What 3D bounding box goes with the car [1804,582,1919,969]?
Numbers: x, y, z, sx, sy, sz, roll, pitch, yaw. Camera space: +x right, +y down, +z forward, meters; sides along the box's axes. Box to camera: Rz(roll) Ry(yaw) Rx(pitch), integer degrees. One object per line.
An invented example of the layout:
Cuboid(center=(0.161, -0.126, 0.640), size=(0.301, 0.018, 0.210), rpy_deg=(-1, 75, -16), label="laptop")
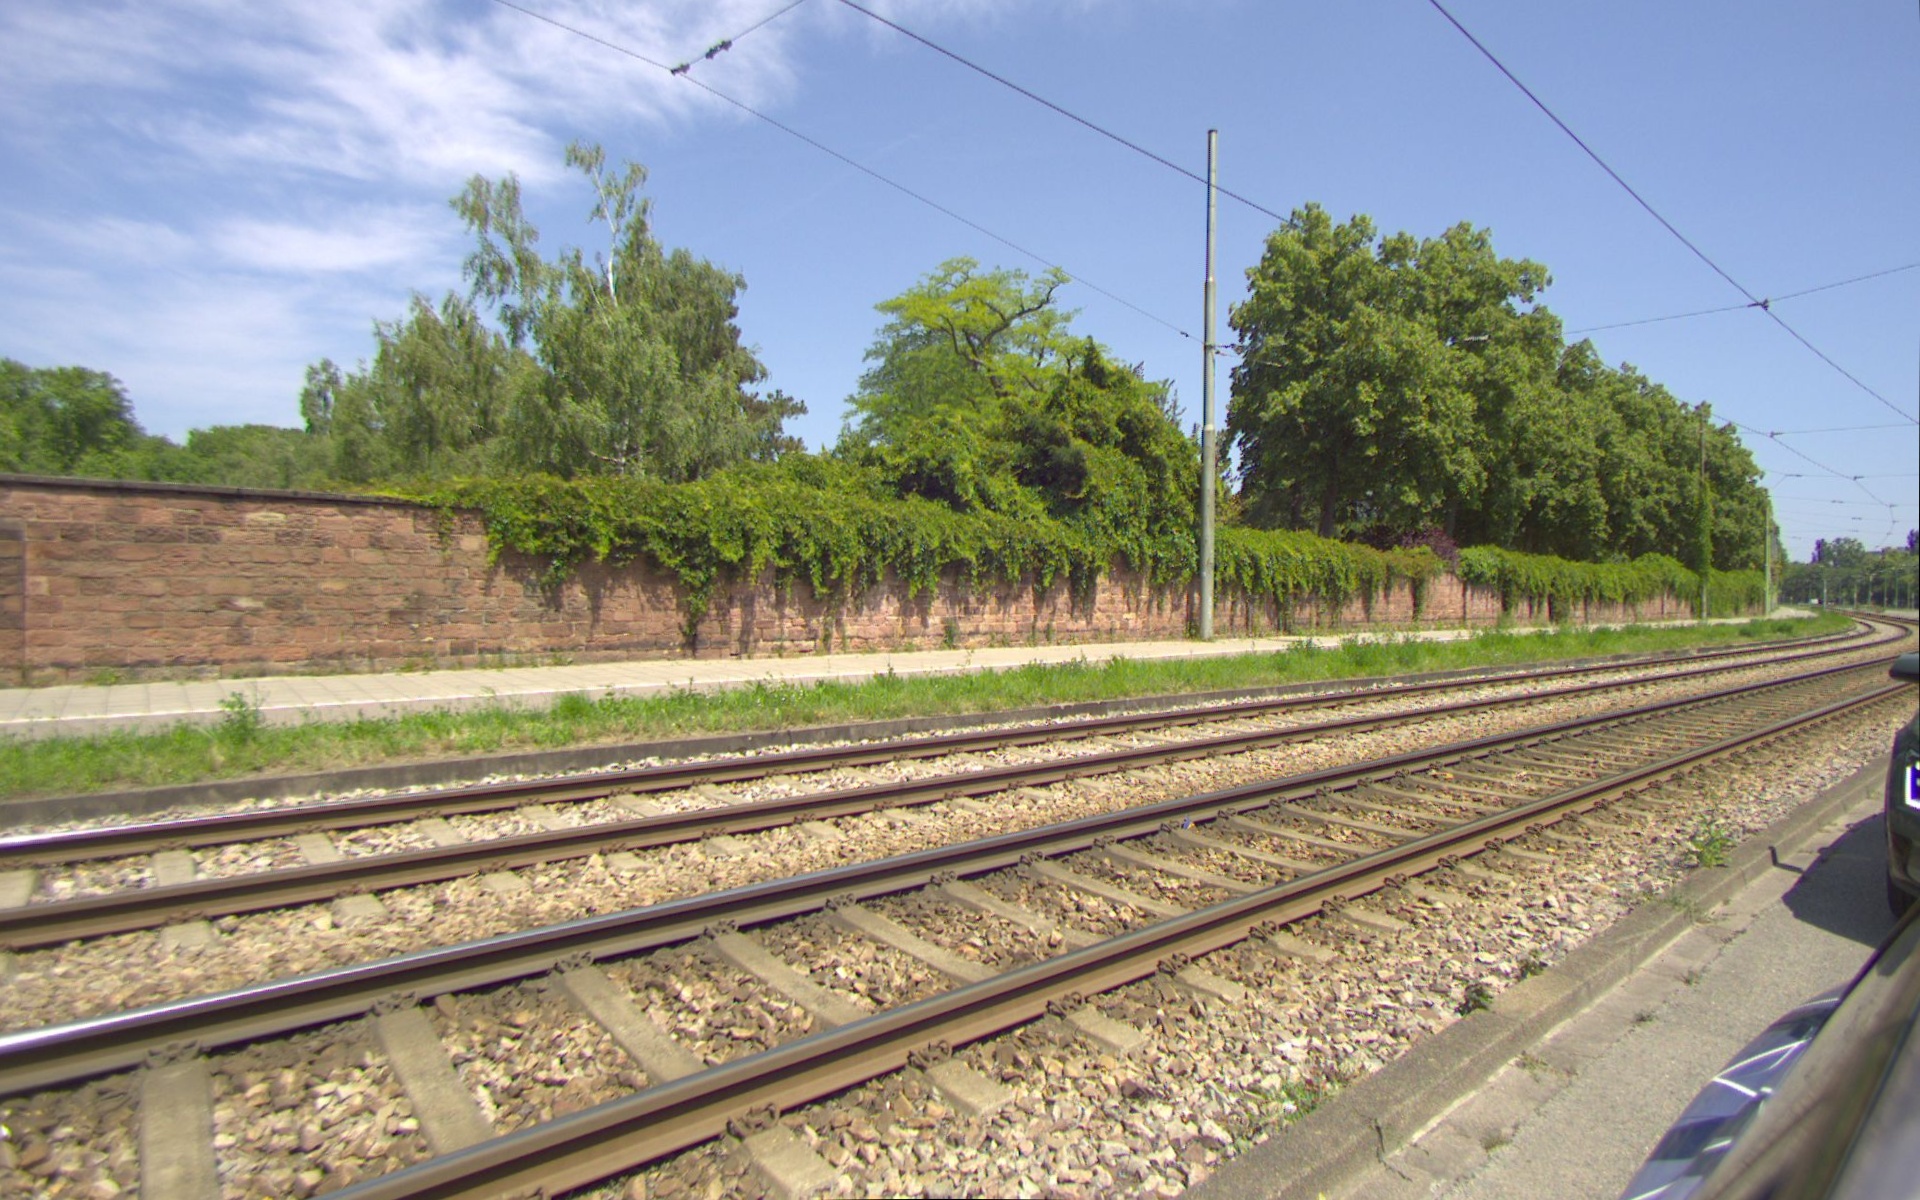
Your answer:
Cuboid(center=(5.831, 0.703, 4.775), size=(3.927, 1.563, 2.062), rpy_deg=(0, -1, -38), label="car")
